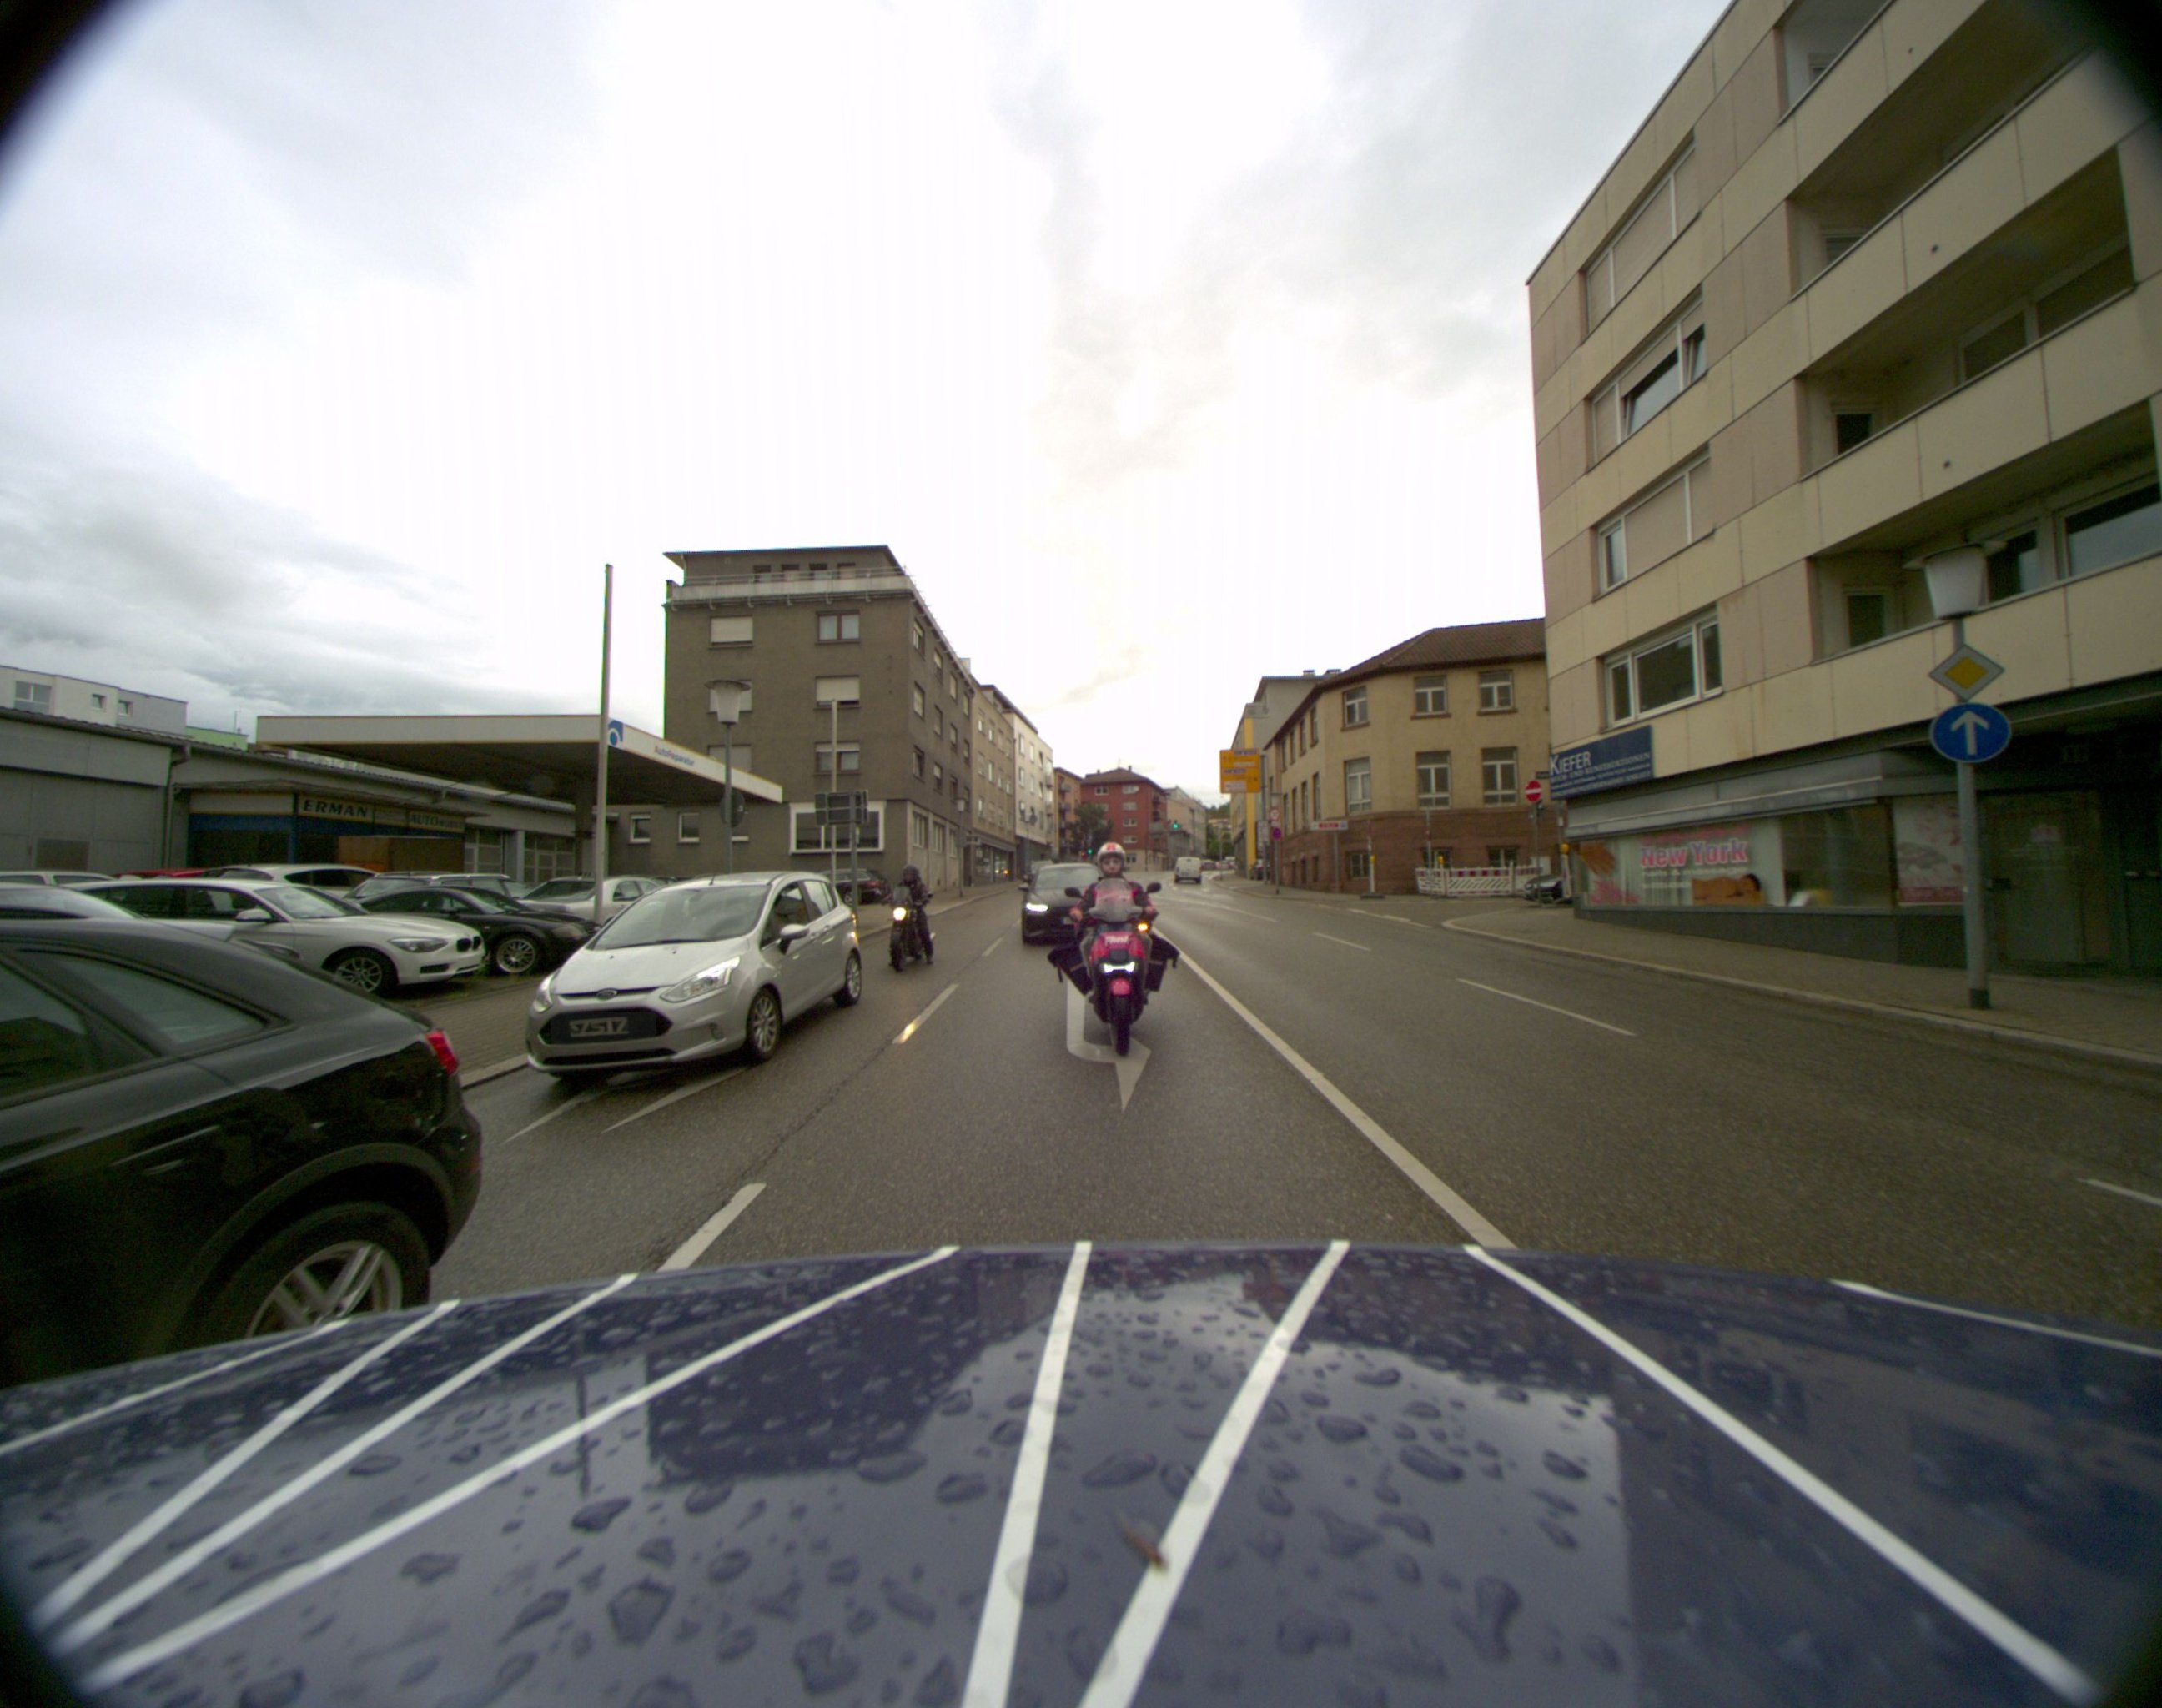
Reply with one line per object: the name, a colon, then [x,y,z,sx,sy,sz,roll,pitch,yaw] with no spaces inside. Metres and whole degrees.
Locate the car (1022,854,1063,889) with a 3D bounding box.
car: [-2.134,0.969,43.407,1.848,1.892,3.766,-1,0,4]

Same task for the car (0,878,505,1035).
car: [-9.881,1.128,9.380,4.002,1.521,1.761,-1,0,-15]

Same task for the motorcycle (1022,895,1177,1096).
motorcycle: [0.187,1.065,6.677,1.010,1.218,2.694,-4,0,2]

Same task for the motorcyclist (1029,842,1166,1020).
motorcyclist: [0.150,0.620,6.524,1.010,1.373,0.835,-4,0,2]

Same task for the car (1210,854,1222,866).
car: [21.397,0.961,120.792,1.847,1.892,3.768,-1,0,10]

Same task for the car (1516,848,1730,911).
car: [14.497,0.678,20.567,4.358,1.495,1.755,-2,0,10]

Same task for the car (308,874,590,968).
car: [-12.302,1.217,15.288,1.793,1.535,4.493,3,-1,1]

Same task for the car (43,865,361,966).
car: [-17.484,1.118,15.469,1.793,1.720,3.949,-1,0,1]

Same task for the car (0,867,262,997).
car: [-14.835,1.040,11.137,1.793,1.591,3.519,1,0,1]

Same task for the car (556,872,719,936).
car: [-12.090,1.304,21.105,1.793,1.502,4.420,3,-1,1]

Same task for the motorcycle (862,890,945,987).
motorcycle: [-2.722,1.248,11.924,0.847,1.218,2.372,-4,0,-5]

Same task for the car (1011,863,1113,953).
car: [-0.252,0.987,15.599,1.705,1.451,4.319,-3,0,3]

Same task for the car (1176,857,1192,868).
car: [13.726,1.098,100.831,1.860,1.445,4.322,-1,0,11]

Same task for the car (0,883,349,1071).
car: [-9.690,1.029,6.865,4.003,1.441,1.796,2,-1,-16]

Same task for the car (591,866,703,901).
car: [-18.439,1.240,32.410,3.751,1.445,1.795,0,-2,3]

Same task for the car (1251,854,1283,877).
car: [13.190,0.811,54.024,1.861,1.445,3.966,-4,-1,10]

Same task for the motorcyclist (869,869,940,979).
motorcyclist: [-2.734,1.057,11.871,0.847,1.580,0.962,-4,1,-5]

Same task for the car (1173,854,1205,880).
car: [7.653,0.873,54.343,1.866,1.793,4.267,0,0,3]

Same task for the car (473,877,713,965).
car: [-9.717,1.254,15.684,1.792,1.407,4.616,0,0,3]

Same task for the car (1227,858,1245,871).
car: [18.315,1.209,89.967,1.861,1.445,4.321,2,0,8]

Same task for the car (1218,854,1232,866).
car: [21.094,0.818,111.557,1.861,1.688,4.321,0,0,9]

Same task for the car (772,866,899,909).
car: [-10.127,1.369,31.525,4.531,1.495,2.001,-3,0,4]

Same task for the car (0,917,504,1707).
car: [-2.965,1.062,0.550,1.828,1.551,4.200,-4,0,-1]

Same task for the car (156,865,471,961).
car: [-15.093,1.056,15.391,1.793,1.591,4.419,-1,0,1]

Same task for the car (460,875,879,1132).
car: [-3.409,1.093,7.406,1.831,1.532,4.251,-4,0,-3]

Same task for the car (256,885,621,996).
car: [-9.745,1.261,11.889,4.002,1.392,1.669,-1,0,-14]

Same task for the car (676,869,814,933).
car: [-9.288,1.231,21.458,1.793,1.503,4.437,-1,0,1]
